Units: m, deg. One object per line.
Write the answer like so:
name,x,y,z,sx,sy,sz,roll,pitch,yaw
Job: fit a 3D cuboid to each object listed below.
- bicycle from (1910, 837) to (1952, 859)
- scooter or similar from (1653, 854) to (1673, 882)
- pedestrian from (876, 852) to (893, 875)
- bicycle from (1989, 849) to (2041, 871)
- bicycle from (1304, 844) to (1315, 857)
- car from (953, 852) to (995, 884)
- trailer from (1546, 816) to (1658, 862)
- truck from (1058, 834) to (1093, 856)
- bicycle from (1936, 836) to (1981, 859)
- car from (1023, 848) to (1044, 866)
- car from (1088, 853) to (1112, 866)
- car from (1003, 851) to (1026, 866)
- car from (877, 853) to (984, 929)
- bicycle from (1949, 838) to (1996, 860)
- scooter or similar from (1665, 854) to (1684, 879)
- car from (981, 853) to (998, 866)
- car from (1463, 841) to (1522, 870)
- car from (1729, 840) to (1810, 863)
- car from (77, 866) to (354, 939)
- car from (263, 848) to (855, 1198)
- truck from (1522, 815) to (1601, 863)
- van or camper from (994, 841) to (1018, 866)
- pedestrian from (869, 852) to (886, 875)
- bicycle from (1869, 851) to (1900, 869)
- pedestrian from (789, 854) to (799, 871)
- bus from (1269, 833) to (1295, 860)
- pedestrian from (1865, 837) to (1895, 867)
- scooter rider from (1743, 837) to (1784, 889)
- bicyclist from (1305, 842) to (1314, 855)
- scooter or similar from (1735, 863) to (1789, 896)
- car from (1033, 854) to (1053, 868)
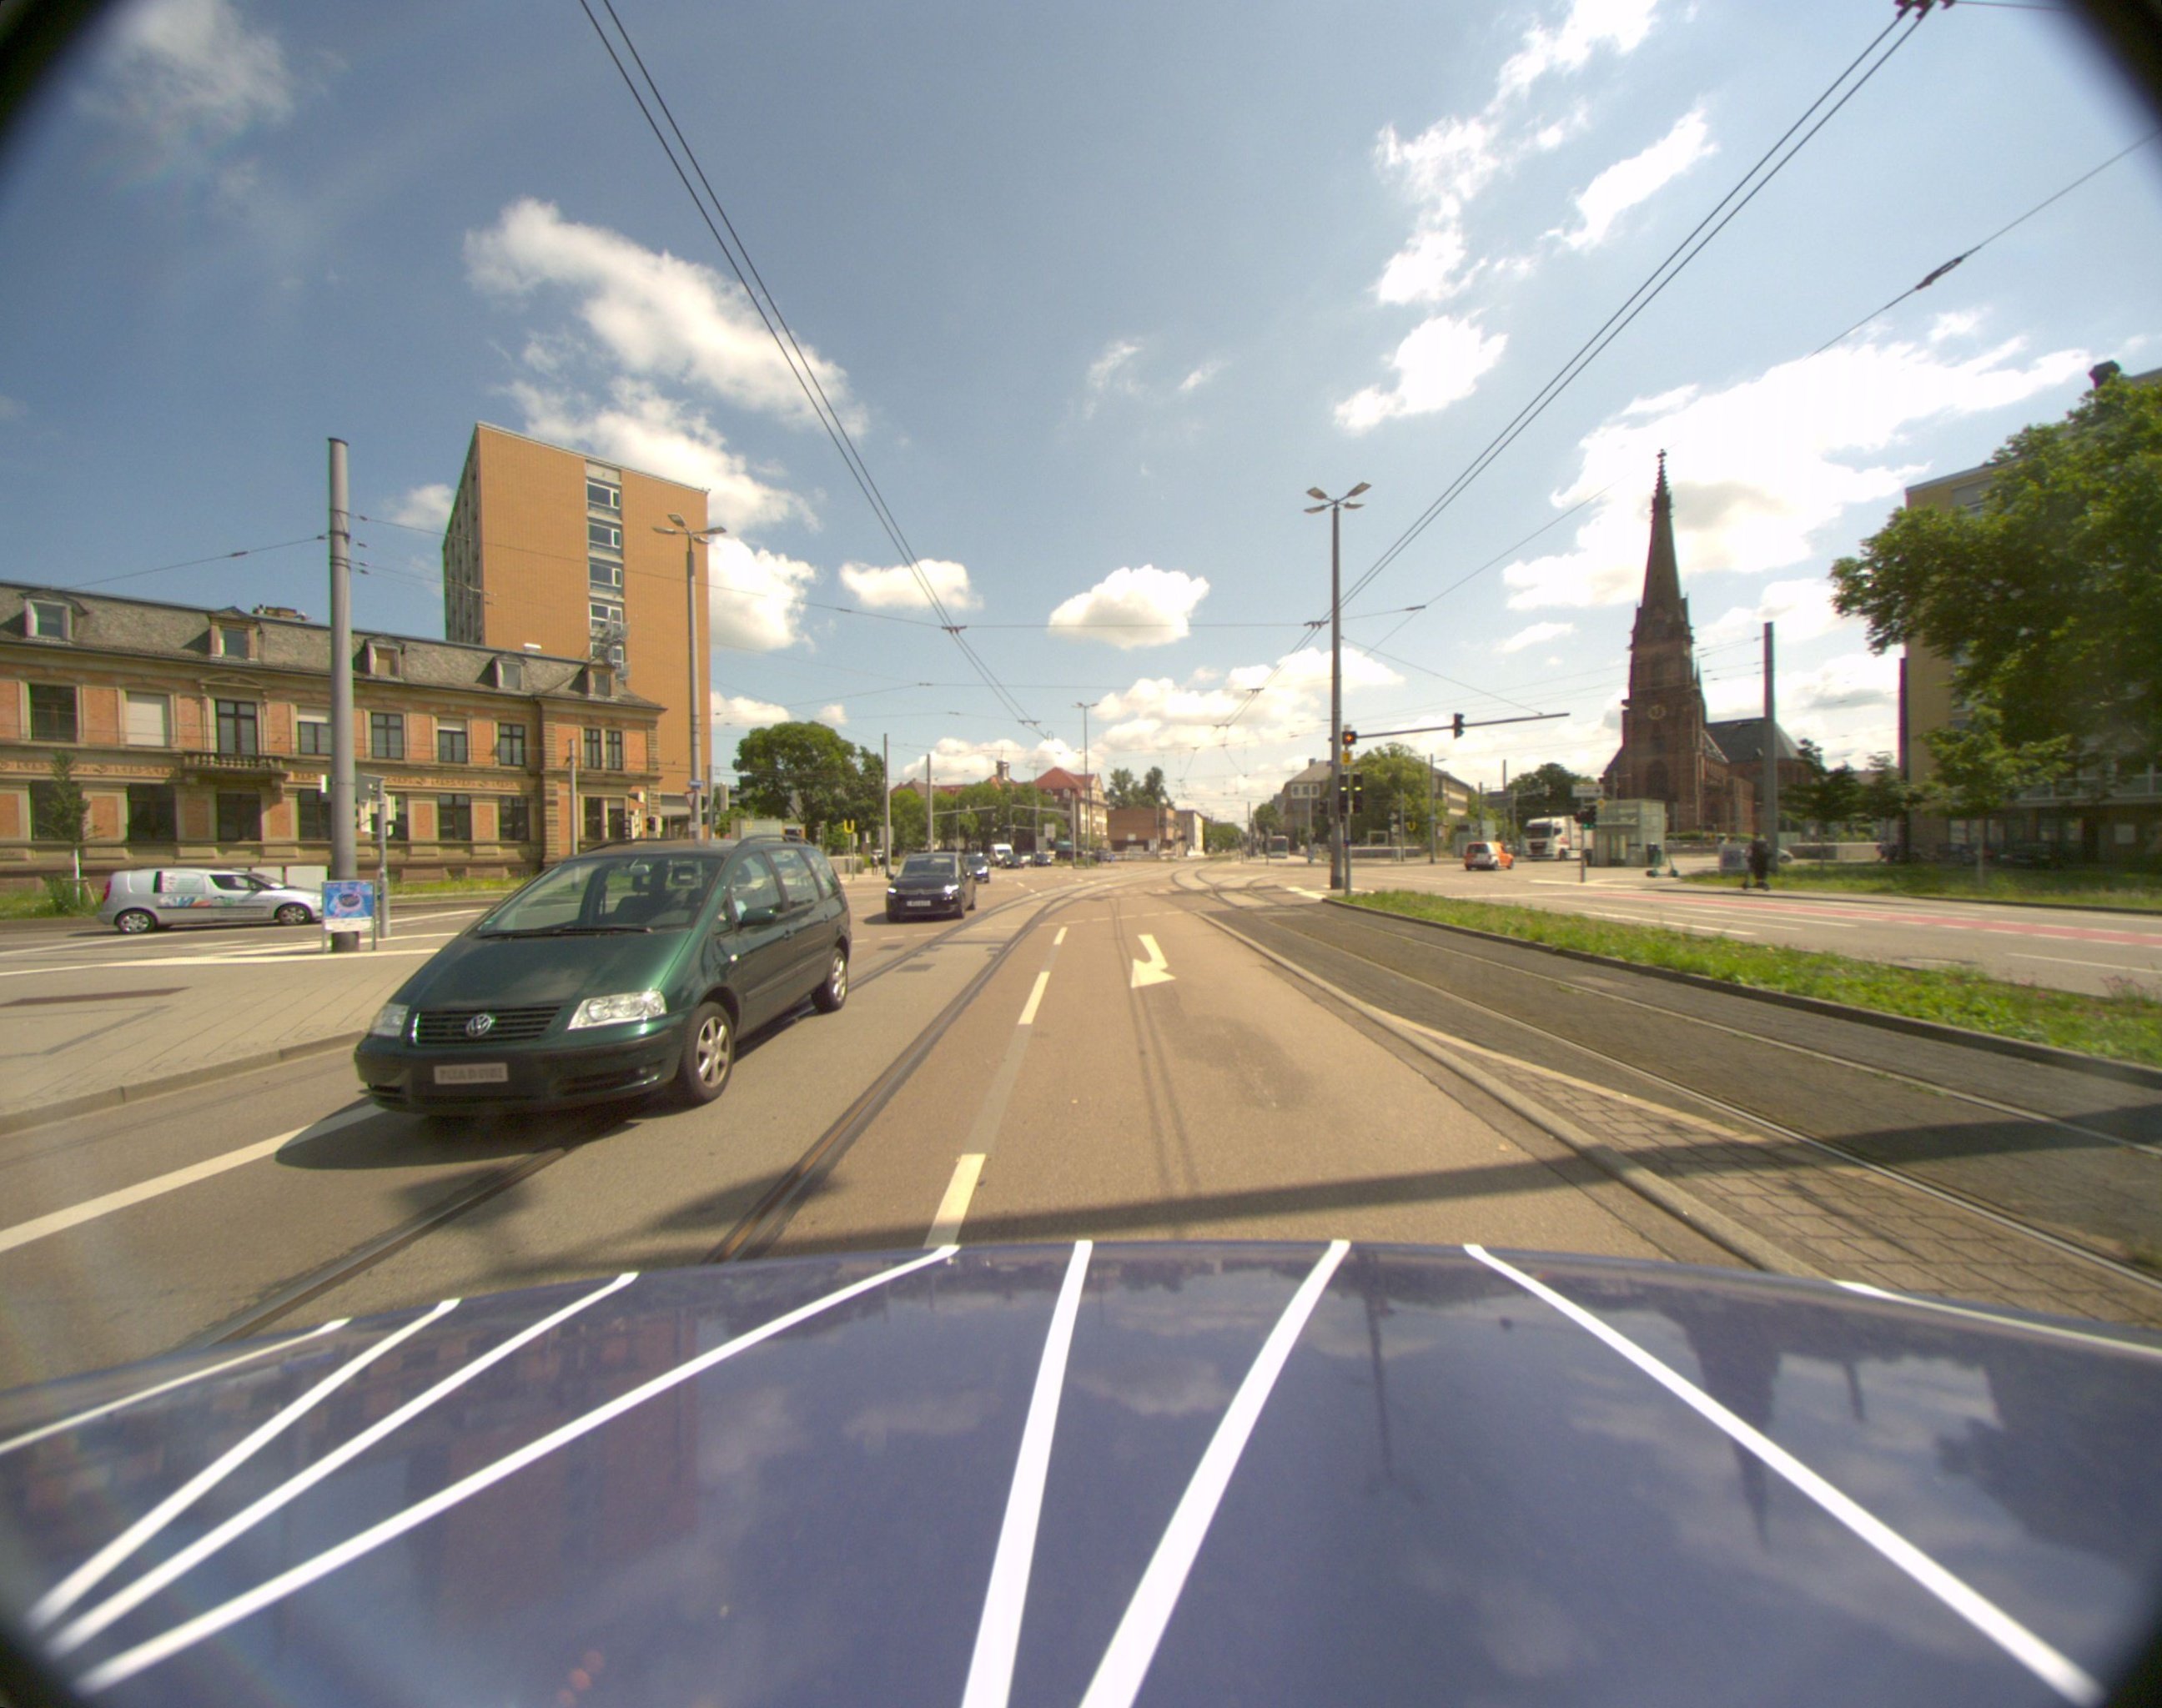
bicycle,50.789,-0.351,45.433,0.494,1.257,1.598,-2,1,-29
scooter or similar,25.756,0.609,33.615,0.462,1.193,0.549,-1,1,0
pedestrian,-15.288,0.721,59.101,1.029,1.710,0.726,-2,2,-39
bicycle,47.246,0.310,38.449,0.494,1.060,1.598,-2,1,-29
bicycle,35.556,-0.562,118.019,1.246,2.002,3.487,-1,0,11
car,-5.348,0.658,38.269,1.874,1.477,4.424,-1,1,-6
trailer,48.445,-1.409,70.399,13.439,4.053,2.942,-1,1,-29
truck,-0.938,-1.302,112.433,3.358,2.981,8.723,-1,1,-13
bicycle,49.467,-0.345,42.826,0.494,1.257,1.598,-2,1,-29
car,-5.417,0.353,86.975,1.816,2.002,3.996,-1,0,-12
car,2.306,0.629,93.073,1.816,1.551,4.103,0,0,-14
car,-6.730,0.457,76.727,1.902,1.455,4.256,-1,0,-11
car,-3.679,0.833,19.403,1.873,1.607,4.425,-3,1,-1
bicycle,48.974,-0.278,41.767,0.494,1.161,1.598,-2,1,-29
scooter or similar,26.389,0.555,33.793,0.416,1.118,0.556,-1,1,1
car,-11.353,0.630,94.260,1.782,1.565,3.957,-1,0,-12
car,26.016,0.078,48.013,4.250,1.755,1.766,-1,1,-39
car,51.451,-0.178,56.866,4.163,1.633,1.632,-1,1,20
car,-22.183,1.166,19.815,4.435,1.578,1.869,-1,1,-37
car,-3.280,0.854,5.959,1.819,1.708,4.084,-2,1,-2
truck,42.441,-1.323,67.028,6.889,4.095,2.957,-1,1,-29
van or camper,-8.536,-0.030,86.279,2.233,2.719,5.516,-1,0,-11
pedestrian,-15.977,0.734,59.616,1.029,1.802,0.726,-2,2,-39
bicycle,49.938,0.368,47.221,0.460,1.139,1.270,-1,0,-33
pedestrian,-28.254,0.821,74.790,0.830,1.616,0.767,-1,0,-10
bus,26.387,-0.998,100.031,2.947,3.427,7.955,-1,0,13
pedestrian,42.856,-0.113,40.753,0.724,1.551,0.878,-1,0,-21
scooter rider,22.399,0.289,24.956,0.779,1.697,0.649,-1,1,1
bicyclist,35.521,-0.919,117.983,1.124,2.002,1.320,0,1,11
scooter or similar,22.410,0.844,25.032,0.806,1.026,1.092,-1,1,1
car,-4.001,0.721,79.474,1.673,1.368,3.912,-1,0,-10
